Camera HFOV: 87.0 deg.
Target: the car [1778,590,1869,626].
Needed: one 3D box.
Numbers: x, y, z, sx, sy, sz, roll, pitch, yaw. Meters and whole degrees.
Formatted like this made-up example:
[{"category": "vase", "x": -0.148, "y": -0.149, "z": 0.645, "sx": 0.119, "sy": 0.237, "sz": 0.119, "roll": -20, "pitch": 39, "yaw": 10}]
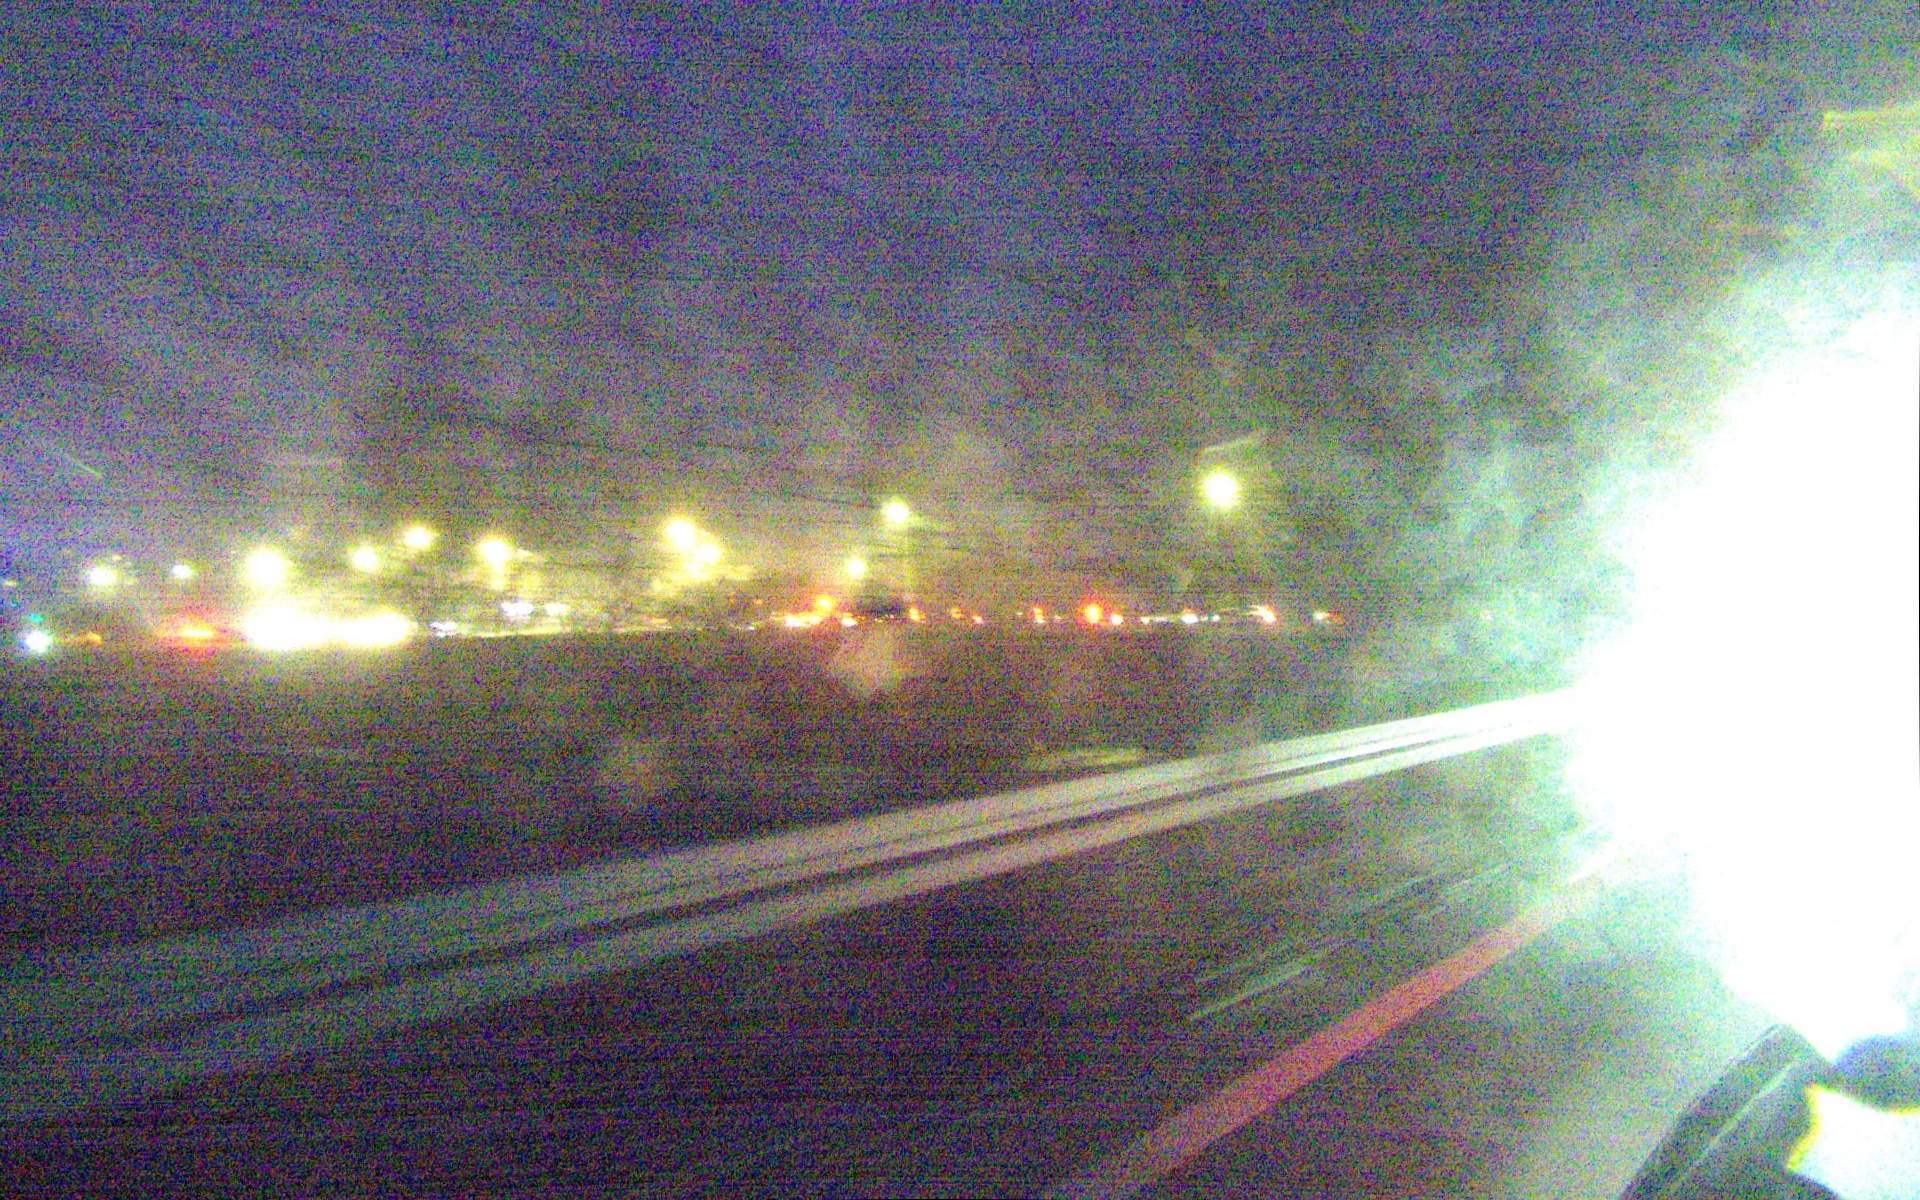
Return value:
[{"category": "car", "x": 53.116, "y": 0.509, "z": 62.333, "sx": 3.975, "sy": 1.873, "sz": 1.837, "roll": -6, "pitch": -5, "yaw": 37}]
